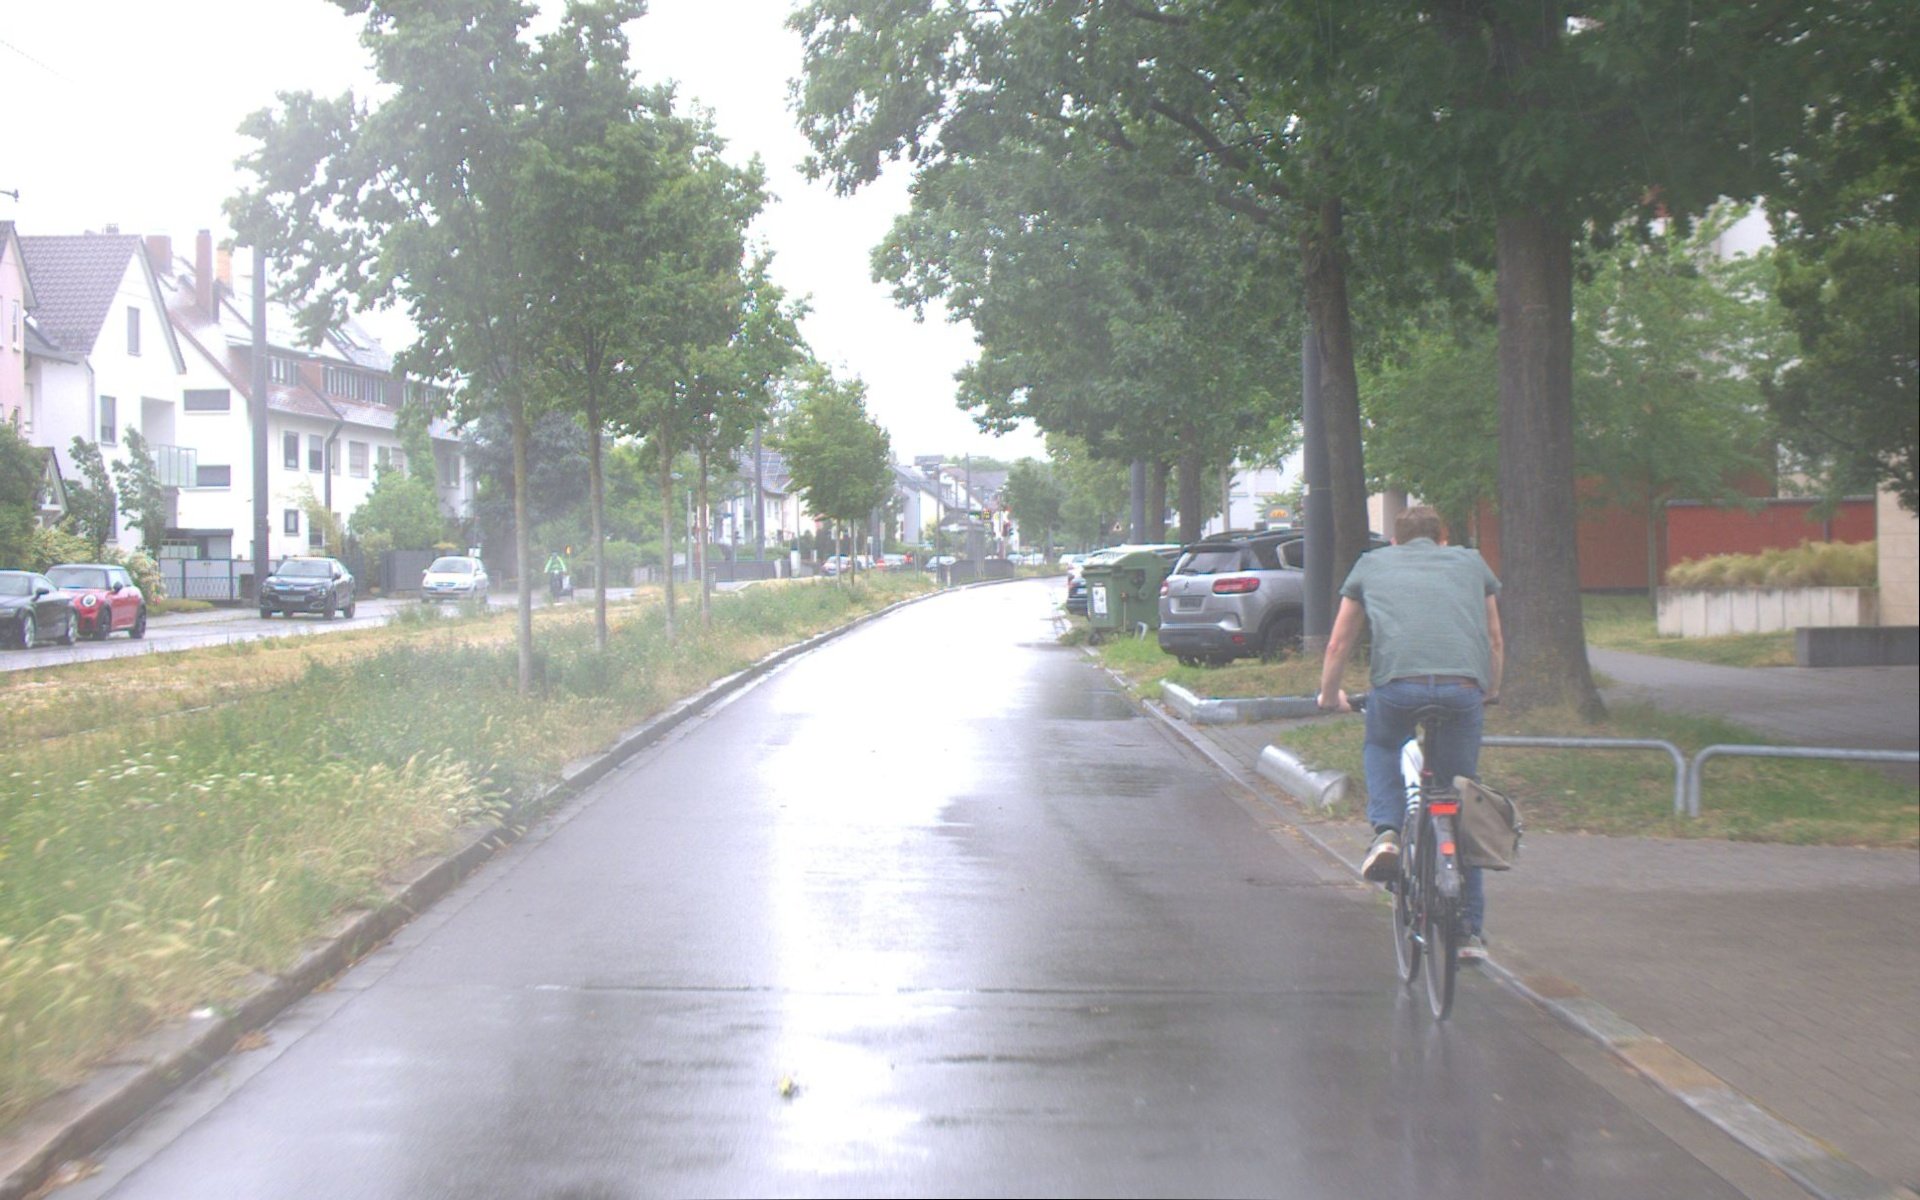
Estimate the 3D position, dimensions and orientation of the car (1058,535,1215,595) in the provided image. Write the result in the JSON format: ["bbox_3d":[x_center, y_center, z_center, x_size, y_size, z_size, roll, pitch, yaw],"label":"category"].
[{"bbox_3d":[4.677,-0.939,90.918,4.028,1.508,1.585,-1,1,-36],"label":"car"}]

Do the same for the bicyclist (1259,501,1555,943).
[{"bbox_3d":[1.508,0.390,11.773,0.809,1.428,1.060,-1,1,-3],"label":"bicyclist"}]

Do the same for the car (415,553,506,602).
[{"bbox_3d":[-15.686,-0.721,108.109,1.897,1.464,4.687,2,1,3],"label":"car"}]

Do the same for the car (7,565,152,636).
[{"bbox_3d":[-16.672,-0.014,65.253,1.674,1.240,3.855,2,1,1],"label":"car"}]

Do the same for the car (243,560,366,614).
[{"bbox_3d":[-16.352,-0.356,85.973,1.897,1.240,4.687,2,1,3],"label":"car"}]

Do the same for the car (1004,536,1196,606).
[{"bbox_3d":[3.039,-0.632,74.285,4.028,1.438,1.585,-1,1,-36],"label":"car"}]

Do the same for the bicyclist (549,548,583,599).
[{"bbox_3d":[-13.384,-0.904,116.787,1.018,1.679,1.092,-1,1,0],"label":"bicyclist"}]

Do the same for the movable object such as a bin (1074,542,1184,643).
[{"bbox_3d":[2.630,-0.124,53.749,1.125,1.452,1.401,-7,3,-20],"label":"movable object such as a bin"}]

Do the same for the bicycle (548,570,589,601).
[{"bbox_3d":[-13.361,-0.498,117.481,1.018,1.024,3.197,-1,1,0],"label":"bicycle"}]

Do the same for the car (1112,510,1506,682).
[{"bbox_3d":[4.081,-0.076,40.065,4.135,1.713,2.000,-4,2,-31],"label":"car"}]

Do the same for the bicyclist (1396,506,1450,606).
[{"bbox_3d":[7.511,-0.719,55.802,0.734,1.588,0.945,-1,1,0],"label":"bicyclist"}]

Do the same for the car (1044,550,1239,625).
[{"bbox_3d":[3.697,-0.273,69.534,4.030,1.438,1.584,-2,1,-43],"label":"car"}]

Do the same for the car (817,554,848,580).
[{"bbox_3d":[-8.398,-2.219,227.055,1.843,1.666,4.000,-1,1,1],"label":"car"}]

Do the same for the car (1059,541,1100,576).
[{"bbox_3d":[5.577,-1.949,161.007,1.833,1.581,4.000,-1,1,1],"label":"car"}]

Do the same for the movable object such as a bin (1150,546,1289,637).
[{"bbox_3d":[4.068,-0.148,54.029,1.681,1.321,1.401,-3,2,-20],"label":"movable object such as a bin"}]

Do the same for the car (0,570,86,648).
[{"bbox_3d":[-16.656,0.131,60.068,1.663,1.240,4.071,2,1,1],"label":"car"}]

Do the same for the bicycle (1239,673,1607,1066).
[{"bbox_3d":[1.520,0.851,11.781,0.809,1.093,2.517,-1,1,-2],"label":"bicycle"}]
